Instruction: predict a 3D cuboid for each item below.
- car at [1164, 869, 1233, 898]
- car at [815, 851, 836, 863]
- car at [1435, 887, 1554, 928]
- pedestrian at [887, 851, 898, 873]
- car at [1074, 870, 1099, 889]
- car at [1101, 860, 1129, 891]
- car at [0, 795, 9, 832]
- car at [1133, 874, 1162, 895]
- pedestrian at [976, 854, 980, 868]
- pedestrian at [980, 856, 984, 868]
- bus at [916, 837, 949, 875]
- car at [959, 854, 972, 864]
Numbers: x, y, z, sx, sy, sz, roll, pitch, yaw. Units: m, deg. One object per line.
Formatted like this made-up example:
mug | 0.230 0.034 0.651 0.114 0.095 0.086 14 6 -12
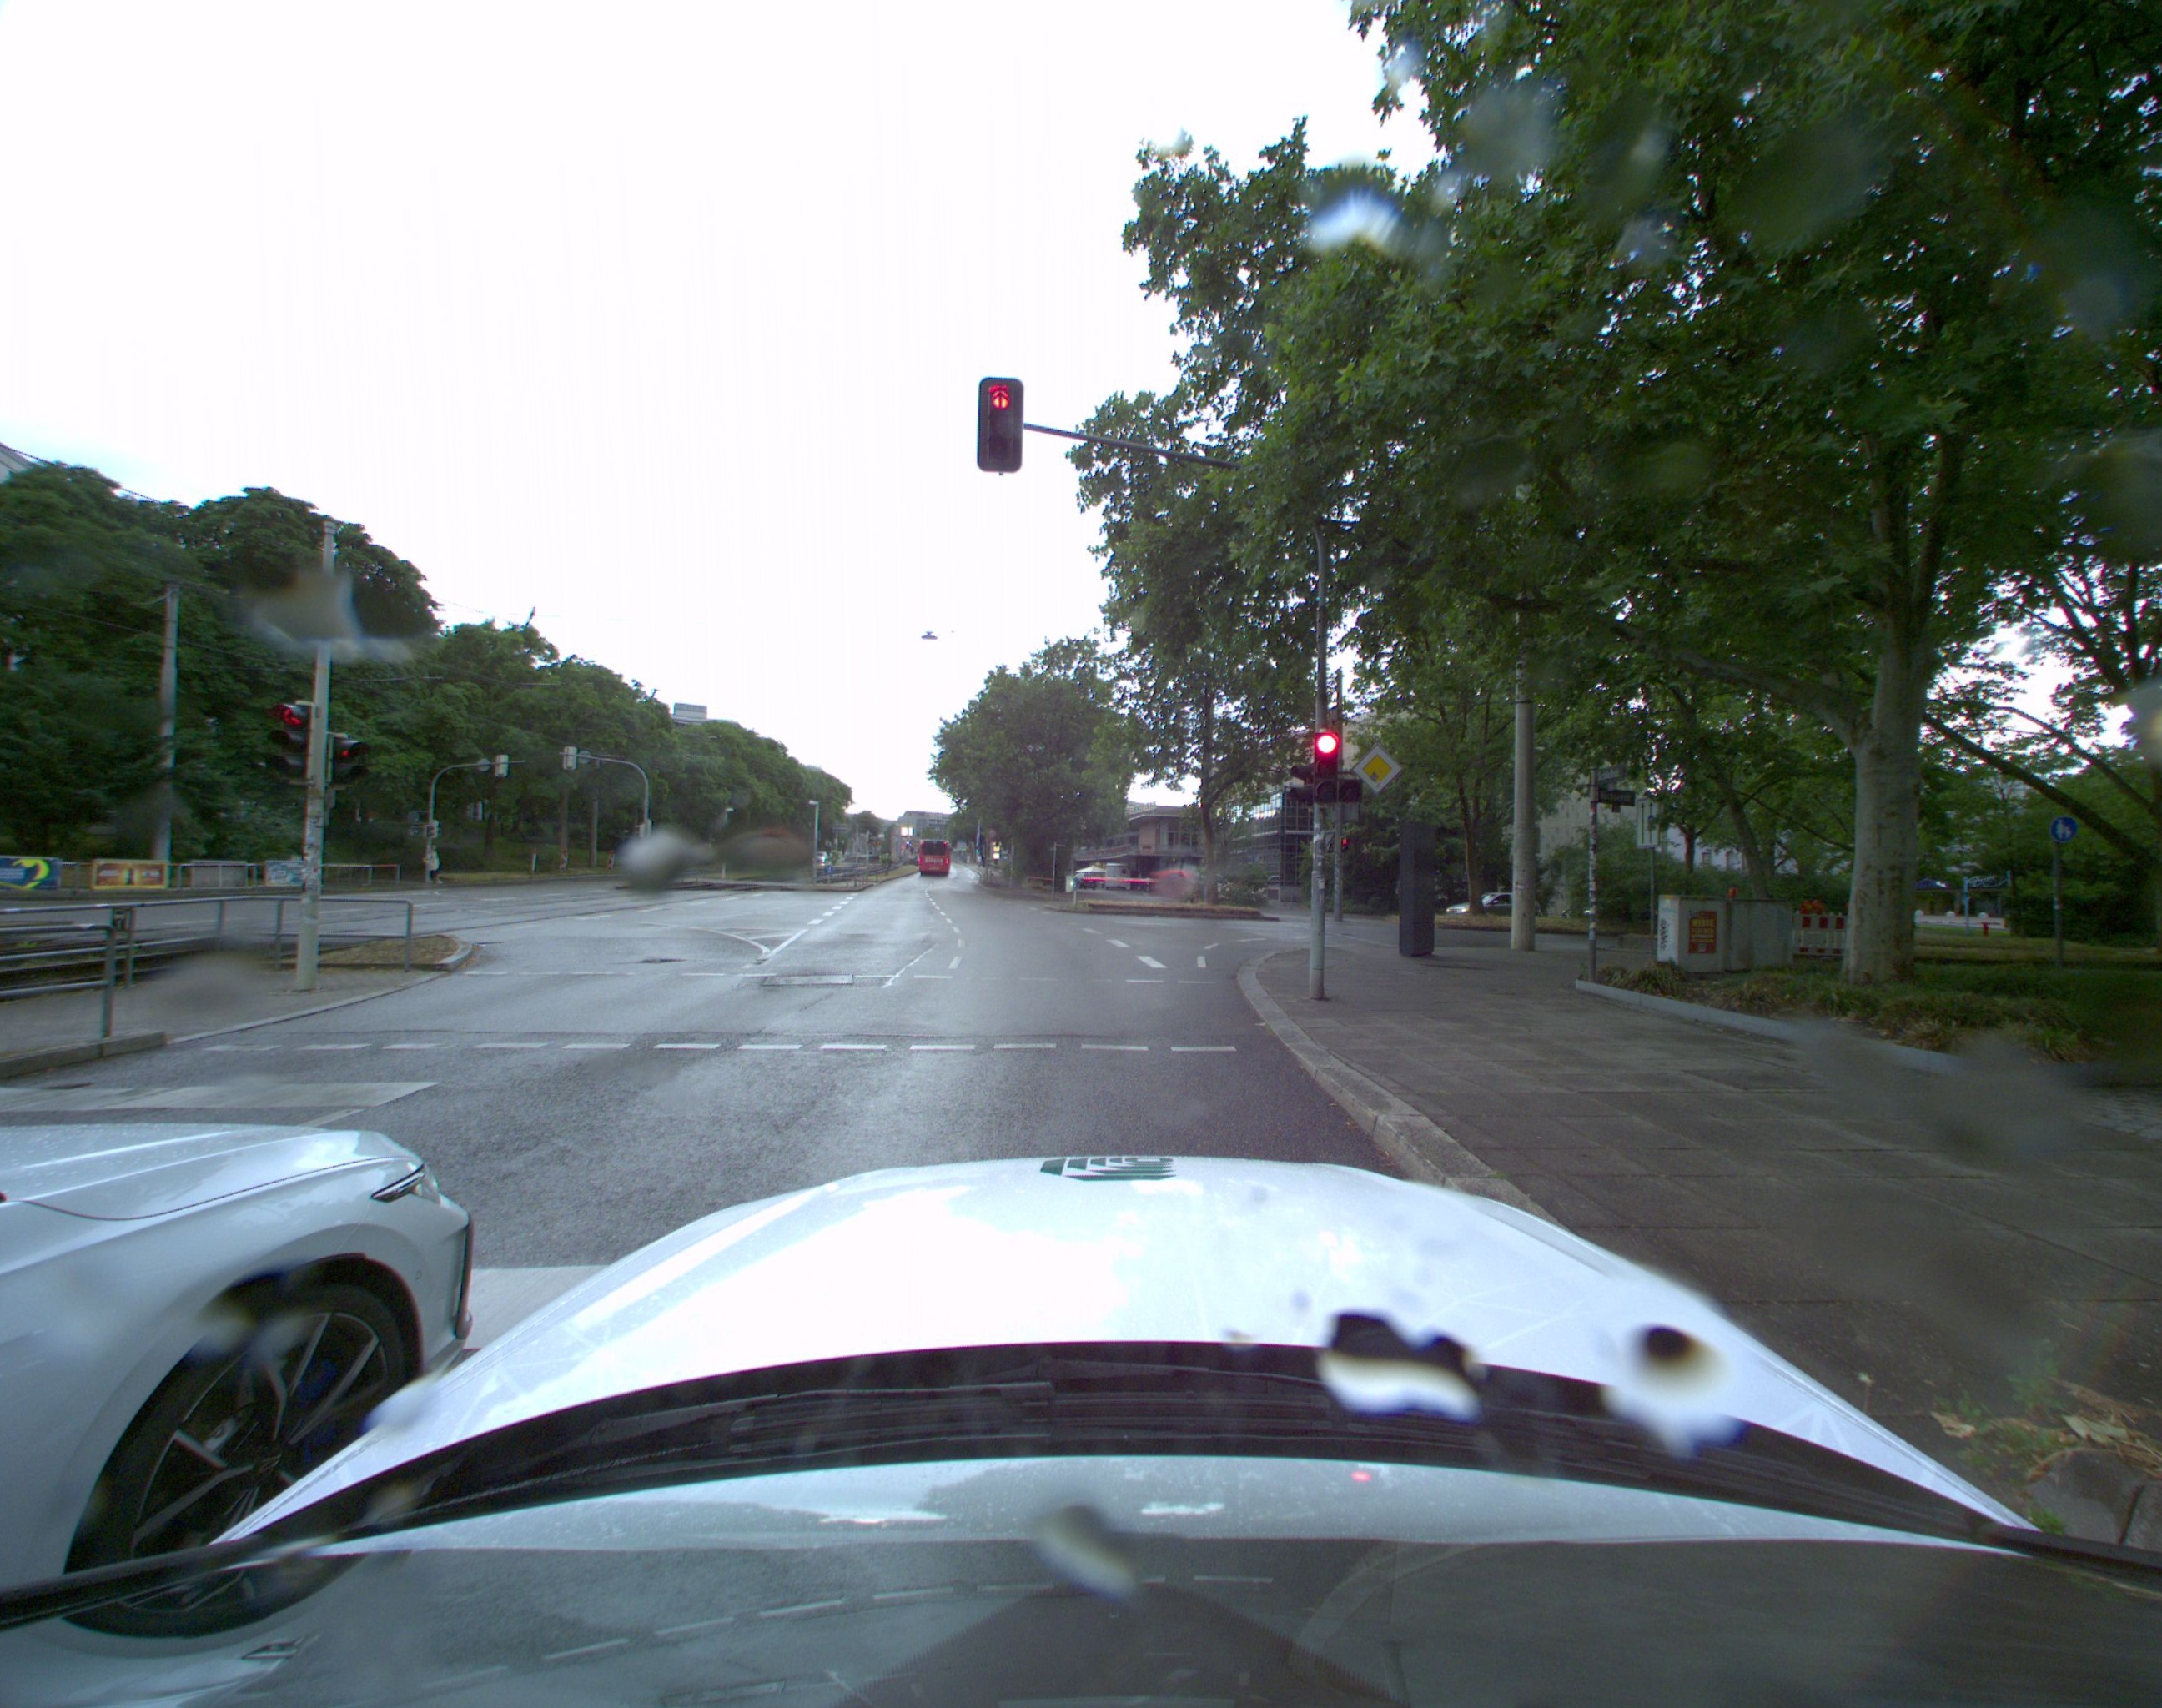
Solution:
car | 8.960 2.218 61.952 4.762 1.943 1.986 3 -2 -20
car | -34.095 0.339 108.647 1.992 1.519 3.989 2 0 -8
car | 17.303 2.216 34.190 3.980 1.442 1.997 3 -2 -5
pedestrian | -14.525 0.616 62.734 0.738 1.640 0.867 3 -2 -13
car | 0.516 2.765 88.060 1.993 1.860 3.987 3 -1 -9
car | 3.760 2.387 90.613 2.539 3.134 5.024 3 -2 -3
car | -52.938 -2.017 37.897 2.005 1.794 4.172 4 -2 -28
car | 6.887 3.151 84.413 1.994 2.014 3.985 3 -2 -10
pedestrian | -13.357 0.897 105.220 0.370 1.708 0.644 2 -1 2
pedestrian | -12.793 0.990 105.374 0.370 1.525 0.344 2 -1 1
bus | -13.580 0.281 74.431 2.655 3.111 9.151 3 -1 -10
car | -21.352 0.912 150.347 1.995 1.684 3.984 3 -1 -12
